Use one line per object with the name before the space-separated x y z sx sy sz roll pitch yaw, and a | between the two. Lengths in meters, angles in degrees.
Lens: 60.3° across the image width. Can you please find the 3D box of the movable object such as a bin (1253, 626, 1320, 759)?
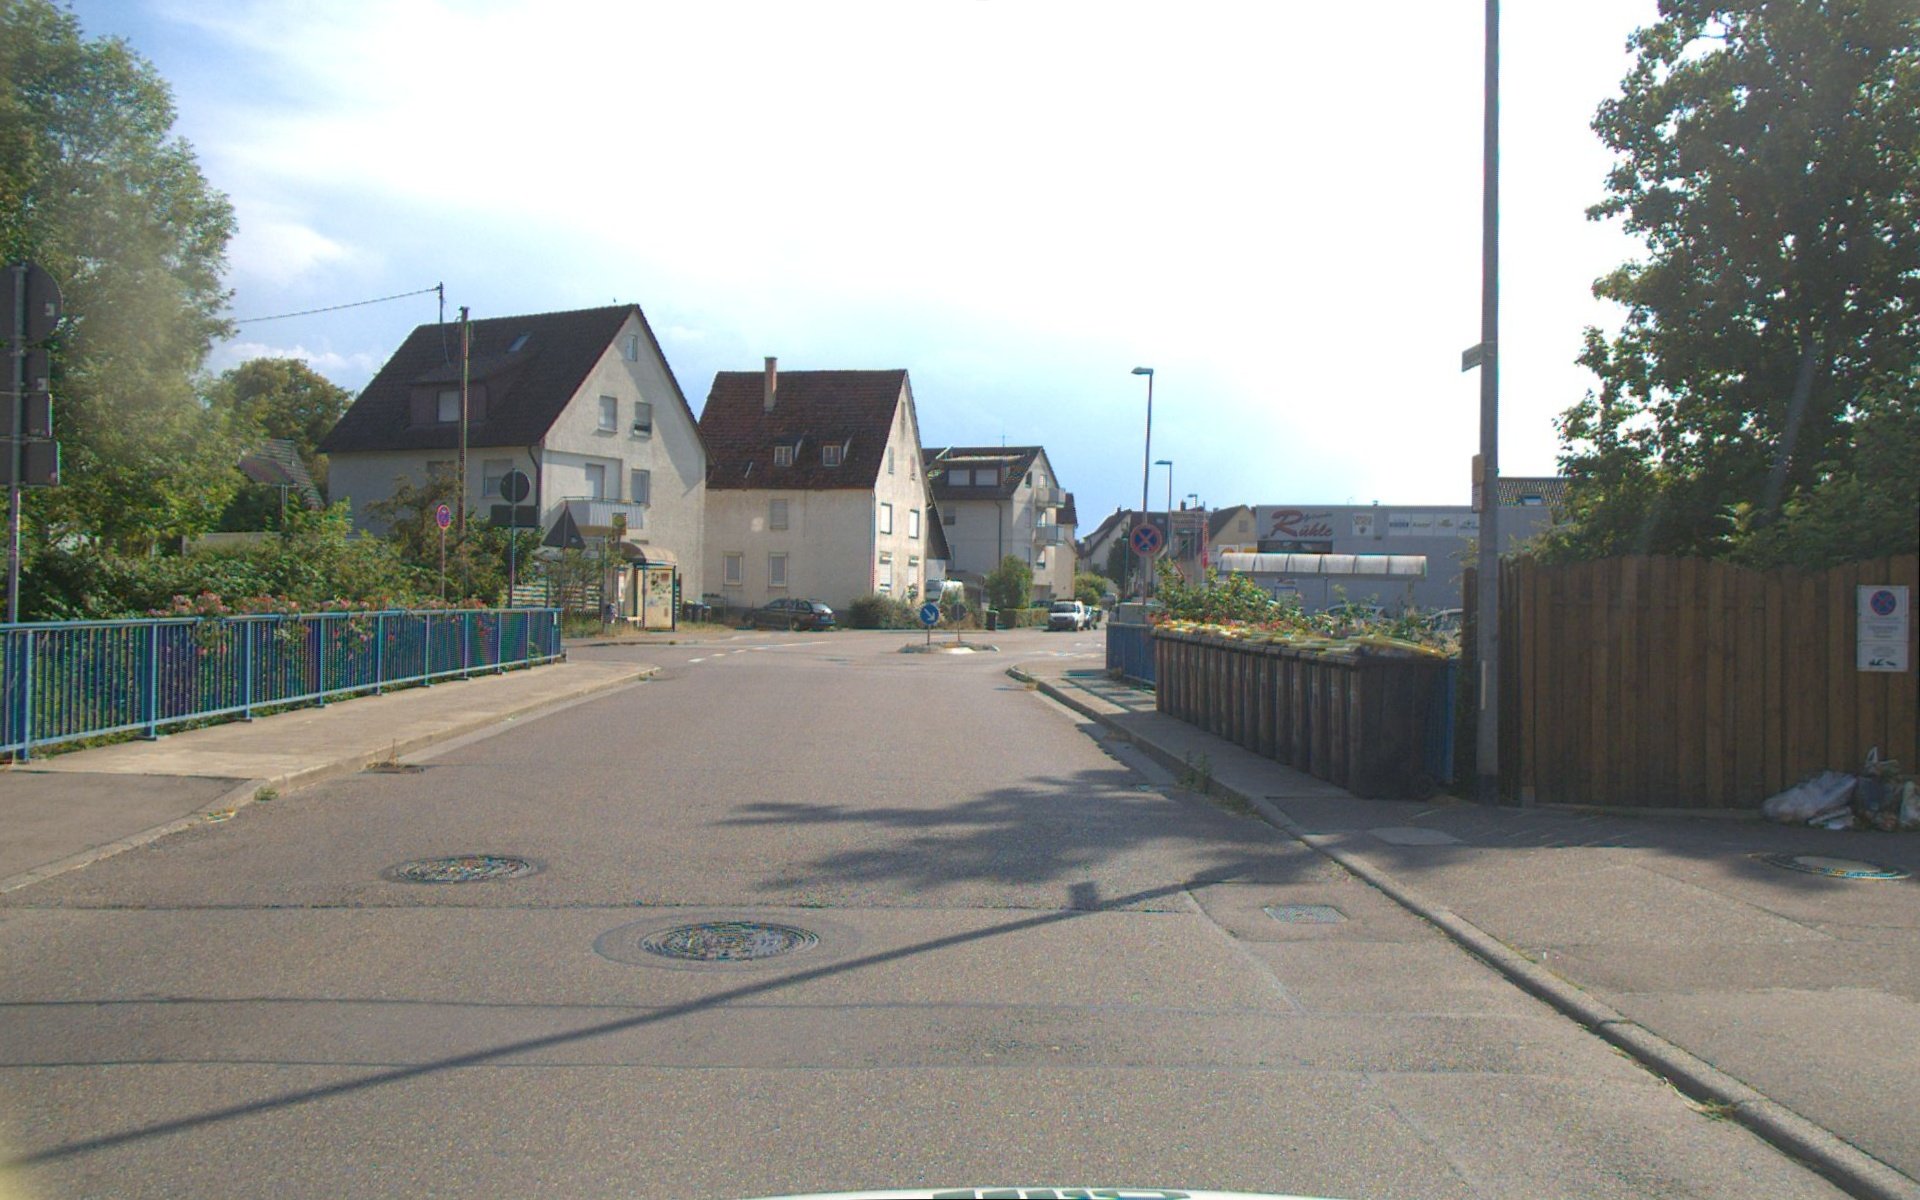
movable object such as a bin | 2.945 0.826 14.958 0.469 1.163 0.538 1 0 -3

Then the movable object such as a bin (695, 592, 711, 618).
movable object such as a bin | -10.436 0.191 67.200 0.354 1.041 0.576 1 -1 28

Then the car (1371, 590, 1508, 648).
car | 12.425 0.497 42.906 3.364 1.441 1.499 0 -1 17

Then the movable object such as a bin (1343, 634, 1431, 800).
movable object such as a bin | 3.122 0.845 12.113 0.469 1.163 0.538 1 0 -3

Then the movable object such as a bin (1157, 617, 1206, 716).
movable object such as a bin | 2.651 0.788 19.823 0.469 1.163 0.538 1 0 -3

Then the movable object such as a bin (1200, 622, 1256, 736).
movable object such as a bin | 2.810 0.818 17.357 0.469 1.163 0.538 1 0 -3

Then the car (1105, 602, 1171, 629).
car | 11.271 0.974 104.849 1.979 1.636 3.946 1 1 -38

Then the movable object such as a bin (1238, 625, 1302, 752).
movable object such as a bin | 2.907 0.822 15.542 0.469 1.163 0.538 1 0 -3

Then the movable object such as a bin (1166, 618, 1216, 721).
movable object such as a bin | 2.677 0.798 19.208 0.469 1.163 0.538 1 0 -3

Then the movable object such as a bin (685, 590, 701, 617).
movable object such as a bin | -10.755 0.144 66.708 0.354 1.059 0.557 1 -1 28

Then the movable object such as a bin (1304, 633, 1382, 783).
movable object such as a bin | 3.061 0.853 13.257 0.469 1.163 0.542 1 0 -3

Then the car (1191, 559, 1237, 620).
car | 10.552 -0.437 68.806 1.797 2.416 5.183 1 0 8

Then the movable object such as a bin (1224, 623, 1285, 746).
movable object such as a bin | 2.867 0.817 16.131 0.469 1.163 0.538 1 0 -3

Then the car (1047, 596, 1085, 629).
car | 6.379 0.714 99.191 1.680 1.905 4.196 0 0 13

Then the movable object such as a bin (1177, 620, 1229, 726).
movable object such as a bin | 2.724 0.811 18.547 0.469 1.163 0.538 1 0 -3

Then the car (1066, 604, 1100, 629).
car | 7.717 1.013 103.540 1.637 1.477 3.838 0 0 13

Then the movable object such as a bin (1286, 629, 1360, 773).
movable object such as a bin | 3.028 0.830 13.821 0.469 1.163 0.538 1 0 -3

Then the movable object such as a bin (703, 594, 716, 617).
movable object such as a bin | -10.263 0.225 67.751 0.354 0.941 0.399 1 -1 28

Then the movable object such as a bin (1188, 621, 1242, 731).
movable object such as a bin | 2.766 0.818 17.945 0.469 1.163 0.538 1 0 -3

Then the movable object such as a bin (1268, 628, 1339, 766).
movable object such as a bin | 2.985 0.831 14.392 0.469 1.163 0.538 1 0 -3

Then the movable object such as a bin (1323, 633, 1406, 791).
movable object such as a bin | 3.093 0.845 12.665 0.469 1.163 0.538 1 0 -3

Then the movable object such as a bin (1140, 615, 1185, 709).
movable object such as a bin | 2.565 0.778 21.012 0.469 1.163 0.538 1 0 -3

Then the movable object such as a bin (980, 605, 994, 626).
movable object such as a bin | 1.452 0.825 89.073 0.598 1.120 0.576 2 0 12

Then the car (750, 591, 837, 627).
car | -7.611 0.385 75.240 3.926 1.458 1.645 3 1 40

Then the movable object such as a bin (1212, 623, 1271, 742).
movable object such as a bin | 2.839 0.823 16.712 0.469 1.163 0.564 1 0 -3

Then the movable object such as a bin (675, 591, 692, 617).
movable object such as a bin | -11.052 0.167 66.147 0.354 1.034 0.557 1 -1 28

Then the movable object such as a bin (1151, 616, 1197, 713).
movable object such as a bin | 2.632 0.793 20.391 0.469 1.163 0.538 1 0 -3
